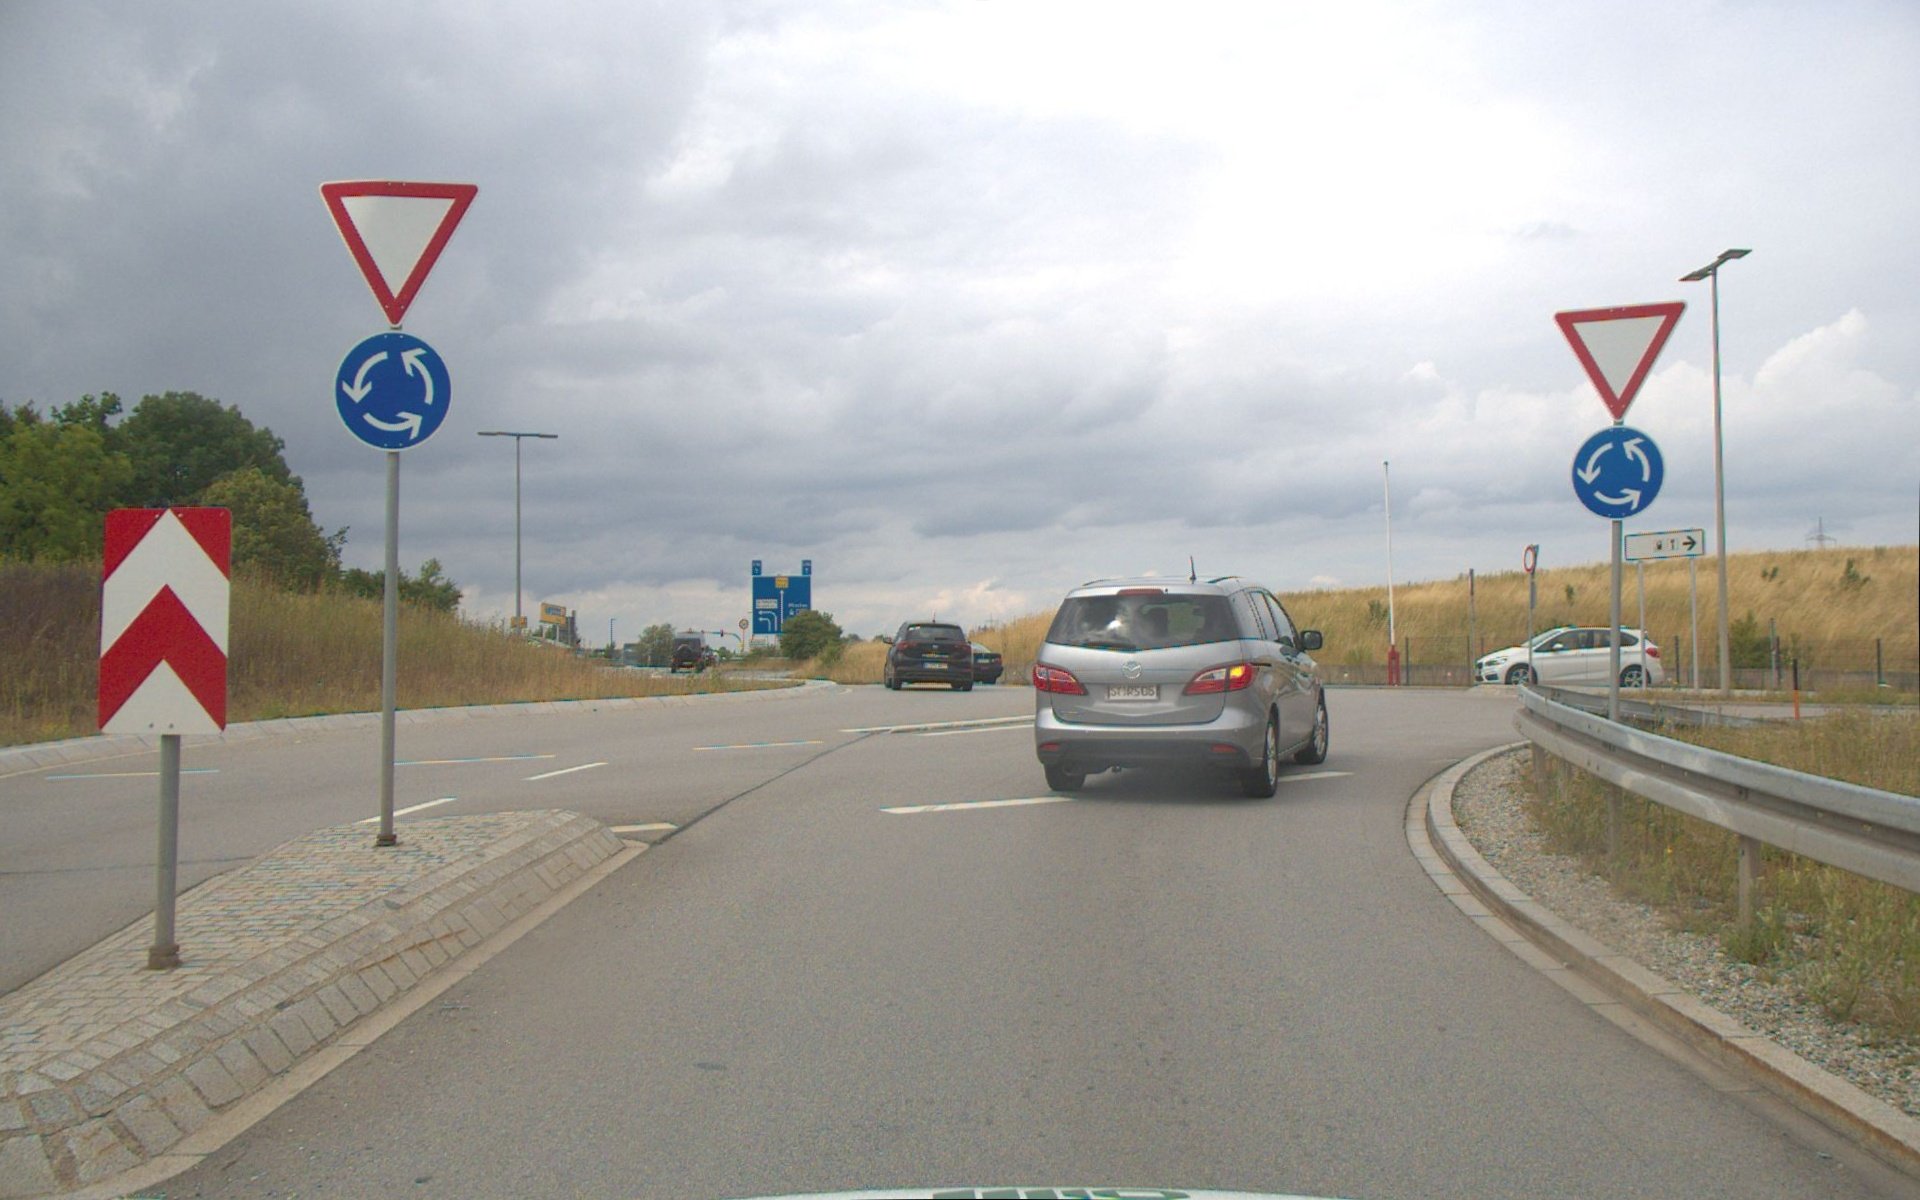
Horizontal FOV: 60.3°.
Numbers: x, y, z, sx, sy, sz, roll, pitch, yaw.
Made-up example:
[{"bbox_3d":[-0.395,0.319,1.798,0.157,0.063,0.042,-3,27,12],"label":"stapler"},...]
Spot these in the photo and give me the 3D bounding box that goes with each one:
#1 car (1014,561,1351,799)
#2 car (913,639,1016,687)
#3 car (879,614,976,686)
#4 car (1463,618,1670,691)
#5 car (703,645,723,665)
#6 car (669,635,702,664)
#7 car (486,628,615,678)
[{"bbox_3d":[1.952,0.579,13.353,1.871,1.601,4.001,-2,-1,20],"label":"car"},{"bbox_3d":[0.100,1.902,50.736,1.579,1.311,4.012,-1,0,-26],"label":"car"},{"bbox_3d":[-0.760,1.025,35.438,1.630,1.402,3.993,-1,0,-7],"label":"car"},{"bbox_3d":[14.437,1.288,39.546,4.320,1.657,1.785,0,0,4],"label":"car"},{"bbox_3d":[-21.200,4.723,141.878,1.570,1.576,4.035,-1,0,-11],"label":"car"},{"bbox_3d":[-15.824,2.830,95.326,1.571,1.576,4.031,-1,0,-14],"label":"car"},{"bbox_3d":[-11.918,1.527,48.019,3.926,1.363,1.656,-2,-1,40],"label":"car"}]
